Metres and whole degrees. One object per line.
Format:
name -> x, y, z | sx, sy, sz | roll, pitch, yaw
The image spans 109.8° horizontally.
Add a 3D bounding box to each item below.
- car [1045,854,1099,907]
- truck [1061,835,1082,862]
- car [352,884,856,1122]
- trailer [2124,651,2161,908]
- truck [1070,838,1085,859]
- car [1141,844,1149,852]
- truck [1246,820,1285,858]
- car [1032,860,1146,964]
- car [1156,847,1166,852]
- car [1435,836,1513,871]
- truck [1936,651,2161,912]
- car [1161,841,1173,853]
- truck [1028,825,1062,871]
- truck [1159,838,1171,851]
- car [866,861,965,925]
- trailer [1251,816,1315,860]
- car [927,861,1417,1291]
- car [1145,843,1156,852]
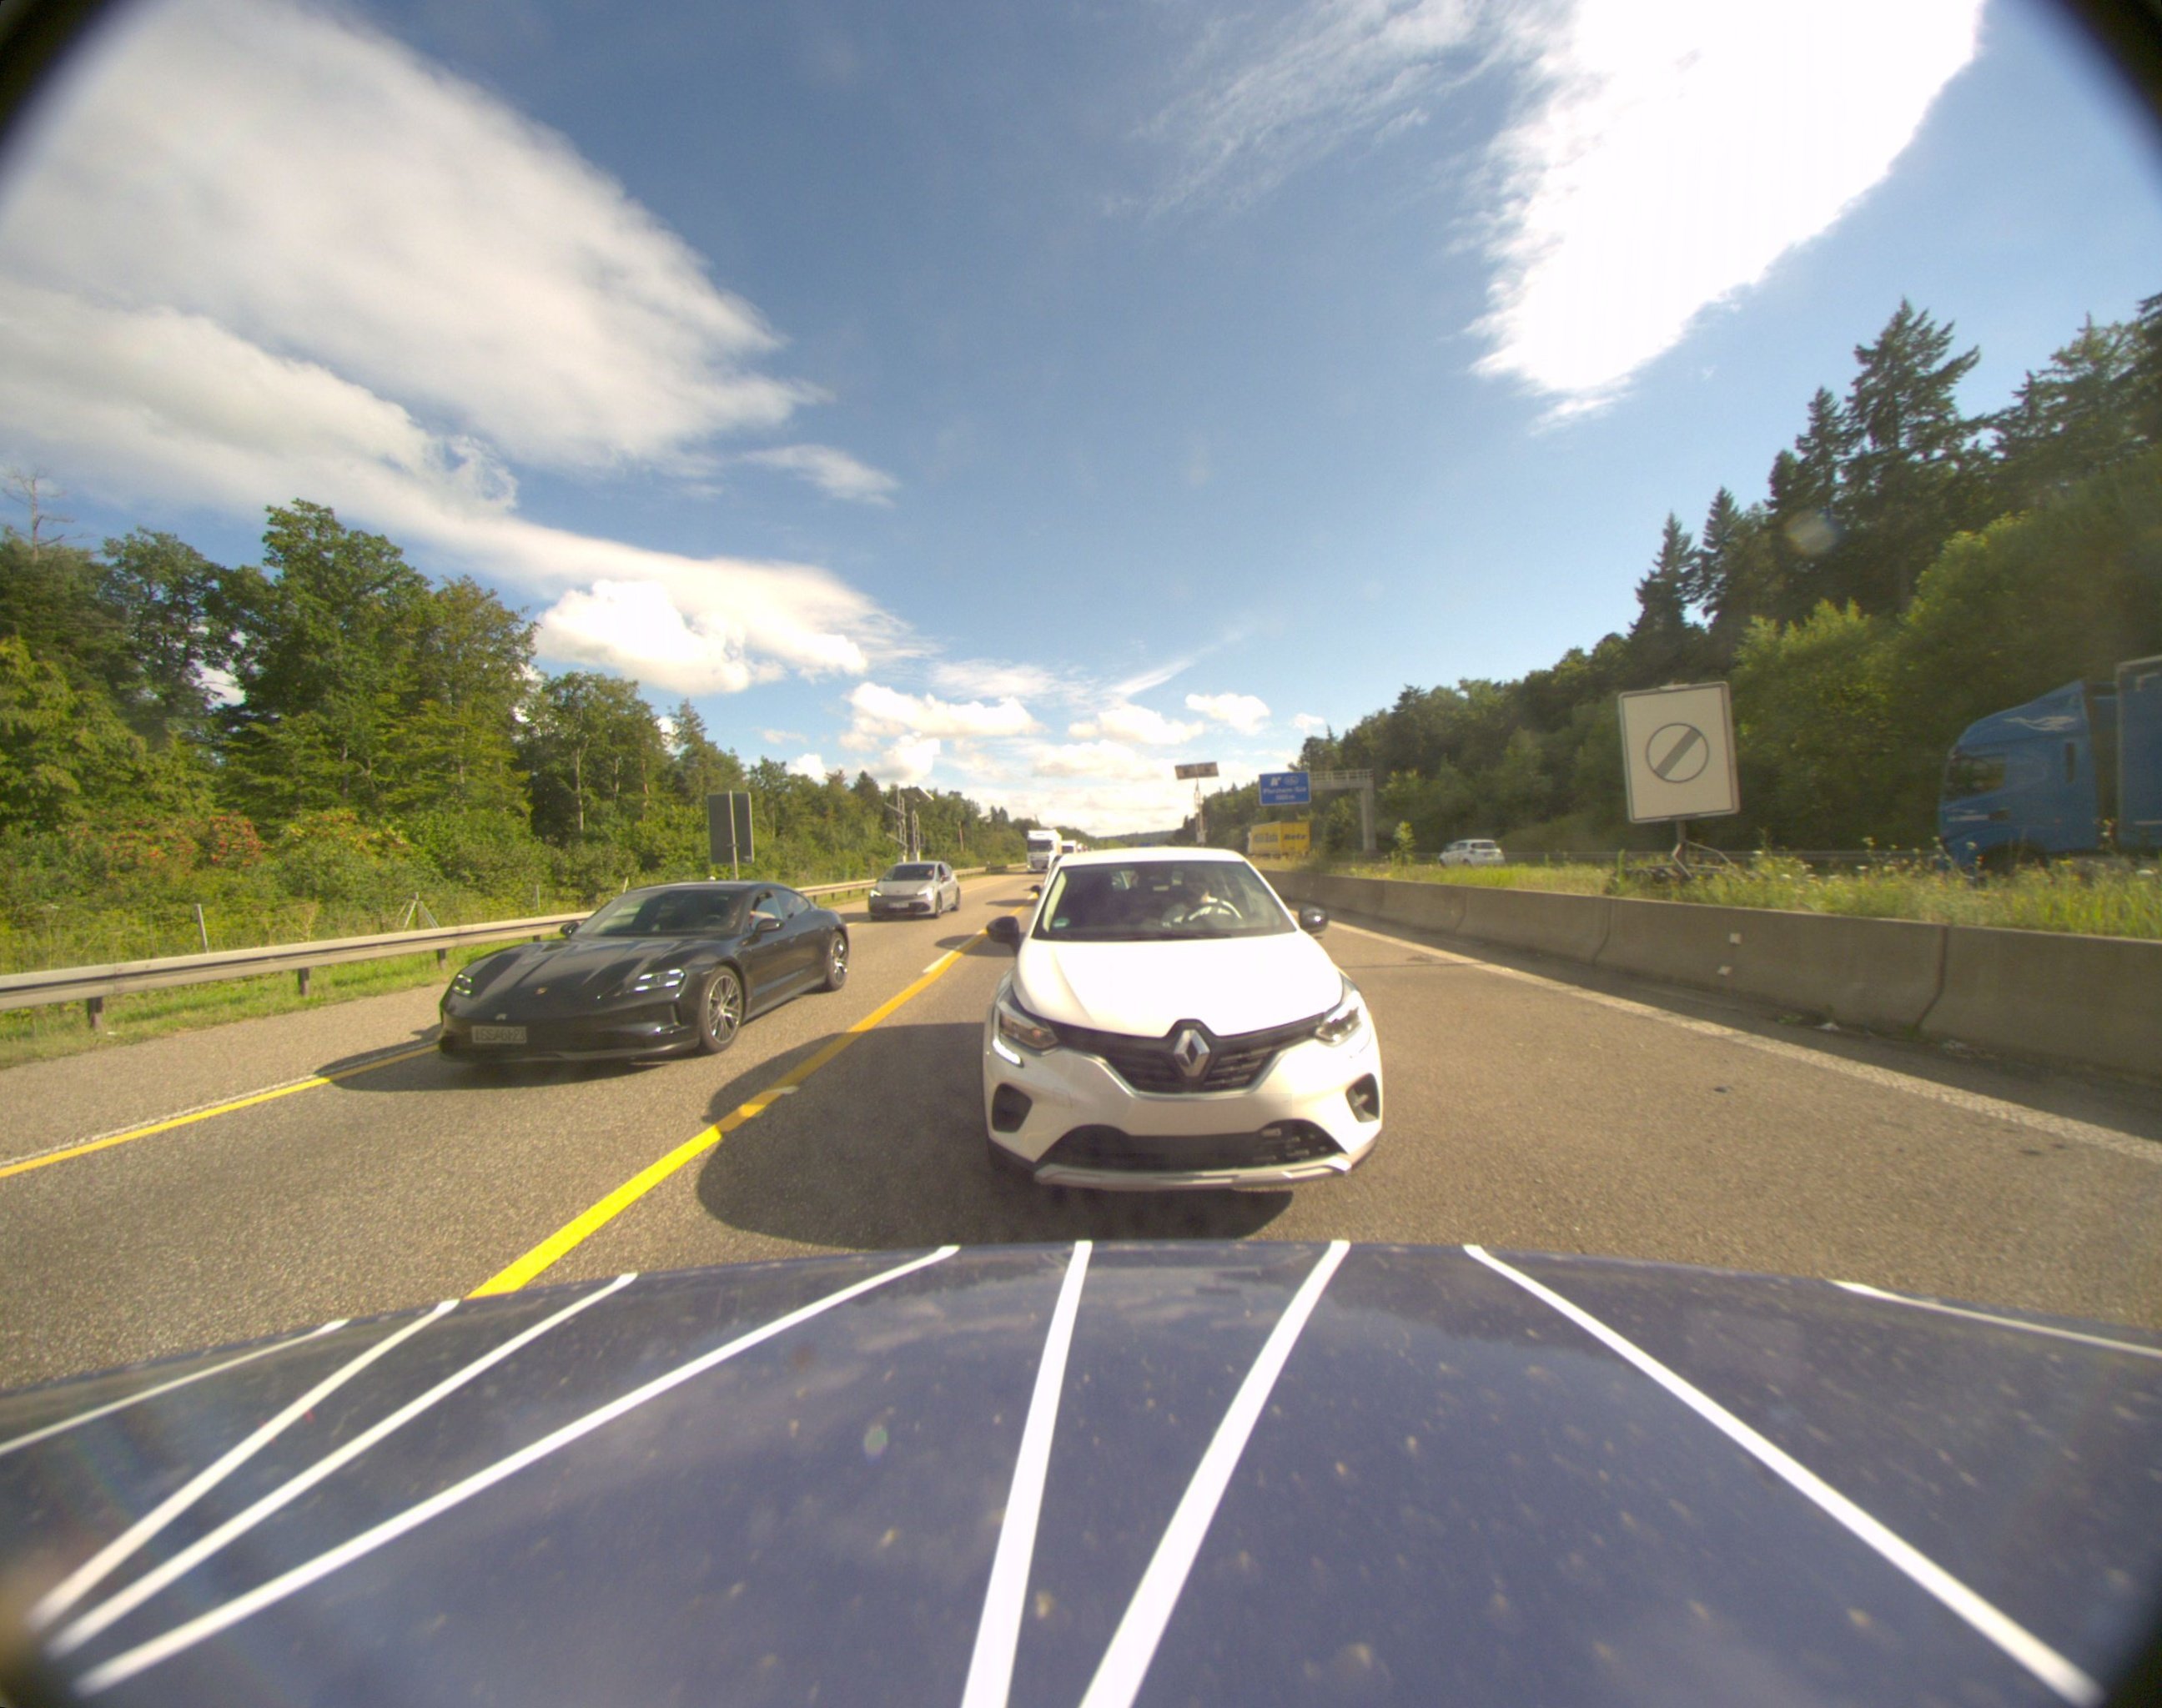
car -> -0.245, 0.833, 25.493 | 1.633, 1.548, 3.754 | -2, 1, 1
truck -> -1.490, -0.939, 123.308 | 2.640, 4.092, 8.196 | -2, 0, 3
car -> -3.879, 1.094, 7.356 | 1.933, 1.342, 4.477 | -2, 0, 1
trailer -> 18.540, -1.150, 5.907 | 2.626, 4.117, 13.370 | -2, 1, 1
truck -> -0.734, -1.159, 160.819 | 2.640, 4.092, 8.196 | -2, 0, 3
car -> 21.459, -2.019, 254.809 | 2.165, 2.437, 6.330 | -4, 1, 1
truck -> 20.198, -1.604, 83.503 | 2.834, 3.886, 5.948 | -2, 1, 1
car -> 0.156, 0.898, 13.457 | 1.692, 1.471, 3.754 | -2, 1, 1
car -> 19.799, -1.124, 187.550 | 1.963, 1.355, 4.287 | -2, 1, 1
car -> 19.097, -0.049, 37.122 | 1.791, 1.551, 3.999 | -2, 1, 1
truck -> 18.637, -1.213, 12.658 | 2.644, 4.165, 5.466 | -2, 1, 1
car -> 25.655, -2.091, 227.396 | 2.493, 3.351, 7.451 | -2, 1, 0
truck -> -3.324, -0.597, 72.360 | 2.641, 4.093, 8.193 | -2, 1, 0
truck -> 27.167, -2.925, 246.217 | 2.807, 3.969, 10.185 | -3, 0, 1
car -> -4.462, 0.996, 21.081 | 1.762, 1.471, 3.967 | -2, 1, 1
trailer -> 20.101, -1.586, 76.820 | 2.834, 3.900, 13.938 | -2, 1, 1
car -> 0.382, 0.885, 4.886 | 1.840, 1.528, 3.882 | -2, 1, 1
car -> 15.836, -1.497, 172.394 | 1.998, 2.002, 4.831 | -2, 1, 1
